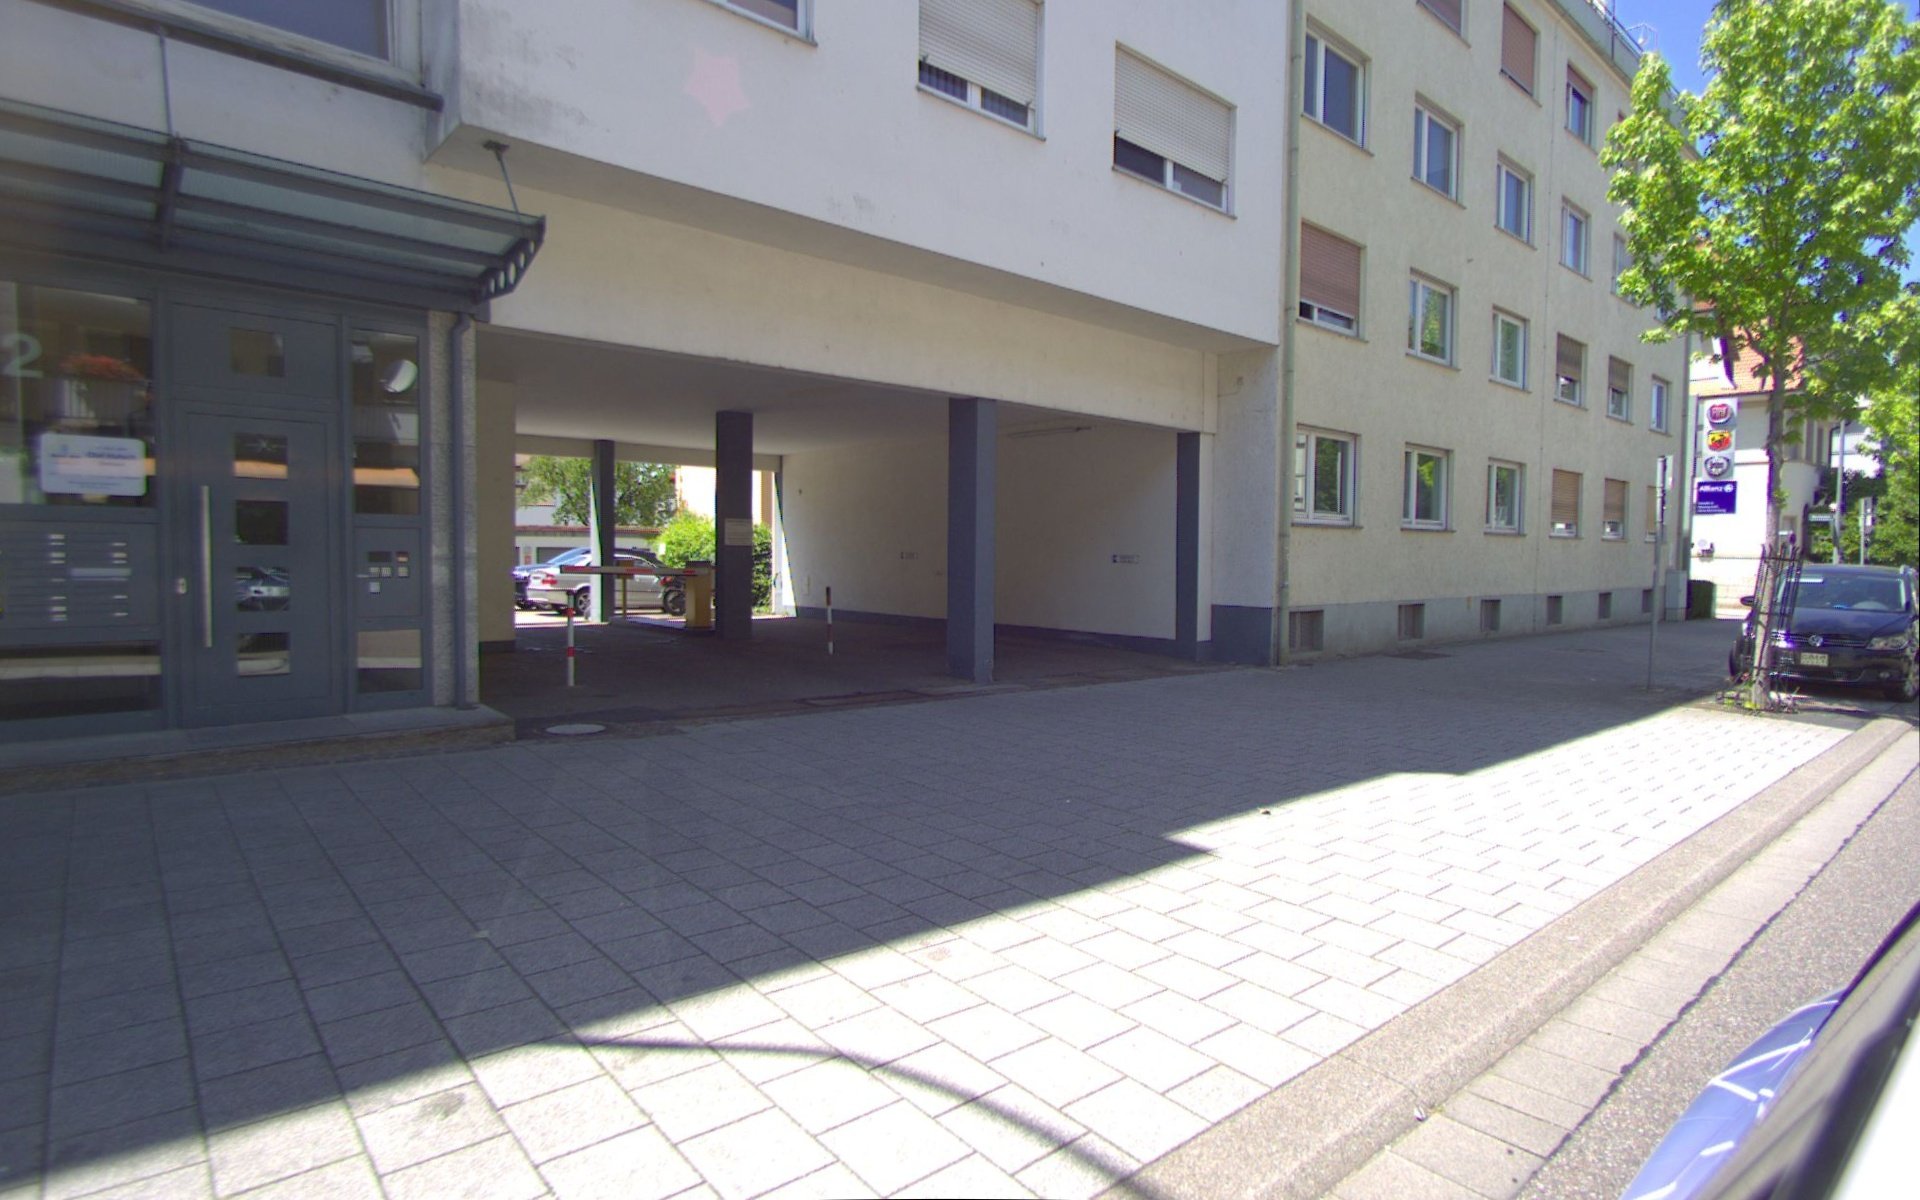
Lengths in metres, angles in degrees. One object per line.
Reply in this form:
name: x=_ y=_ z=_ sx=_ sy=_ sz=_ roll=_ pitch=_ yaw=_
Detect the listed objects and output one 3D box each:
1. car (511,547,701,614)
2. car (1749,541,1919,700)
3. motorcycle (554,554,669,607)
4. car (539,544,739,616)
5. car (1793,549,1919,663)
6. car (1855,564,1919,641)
car: x=-8.398 y=-0.490 z=24.159 sx=3.931 sy=1.471 sz=1.732 roll=-1 pitch=3 yaw=-41
car: x=11.909 y=0.177 z=13.398 sx=3.935 sy=1.742 sz=1.691 roll=-1 pitch=6 yaw=-44
motorcycle: x=-9.107 y=-0.530 z=26.471 sx=2.558 sy=1.308 sz=1.308 roll=-1 pitch=3 yaw=-41
car: x=-7.144 y=-0.478 z=22.693 sx=3.931 sy=1.471 sz=1.732 roll=-1 pitch=3 yaw=-41
car: x=15.714 y=0.029 z=17.353 sx=4.065 sy=1.743 sz=1.690 roll=-1 pitch=3 yaw=-44
car: x=20.448 y=0.014 z=21.418 sx=4.062 sy=1.506 sz=1.692 roll=-1 pitch=3 yaw=-41
